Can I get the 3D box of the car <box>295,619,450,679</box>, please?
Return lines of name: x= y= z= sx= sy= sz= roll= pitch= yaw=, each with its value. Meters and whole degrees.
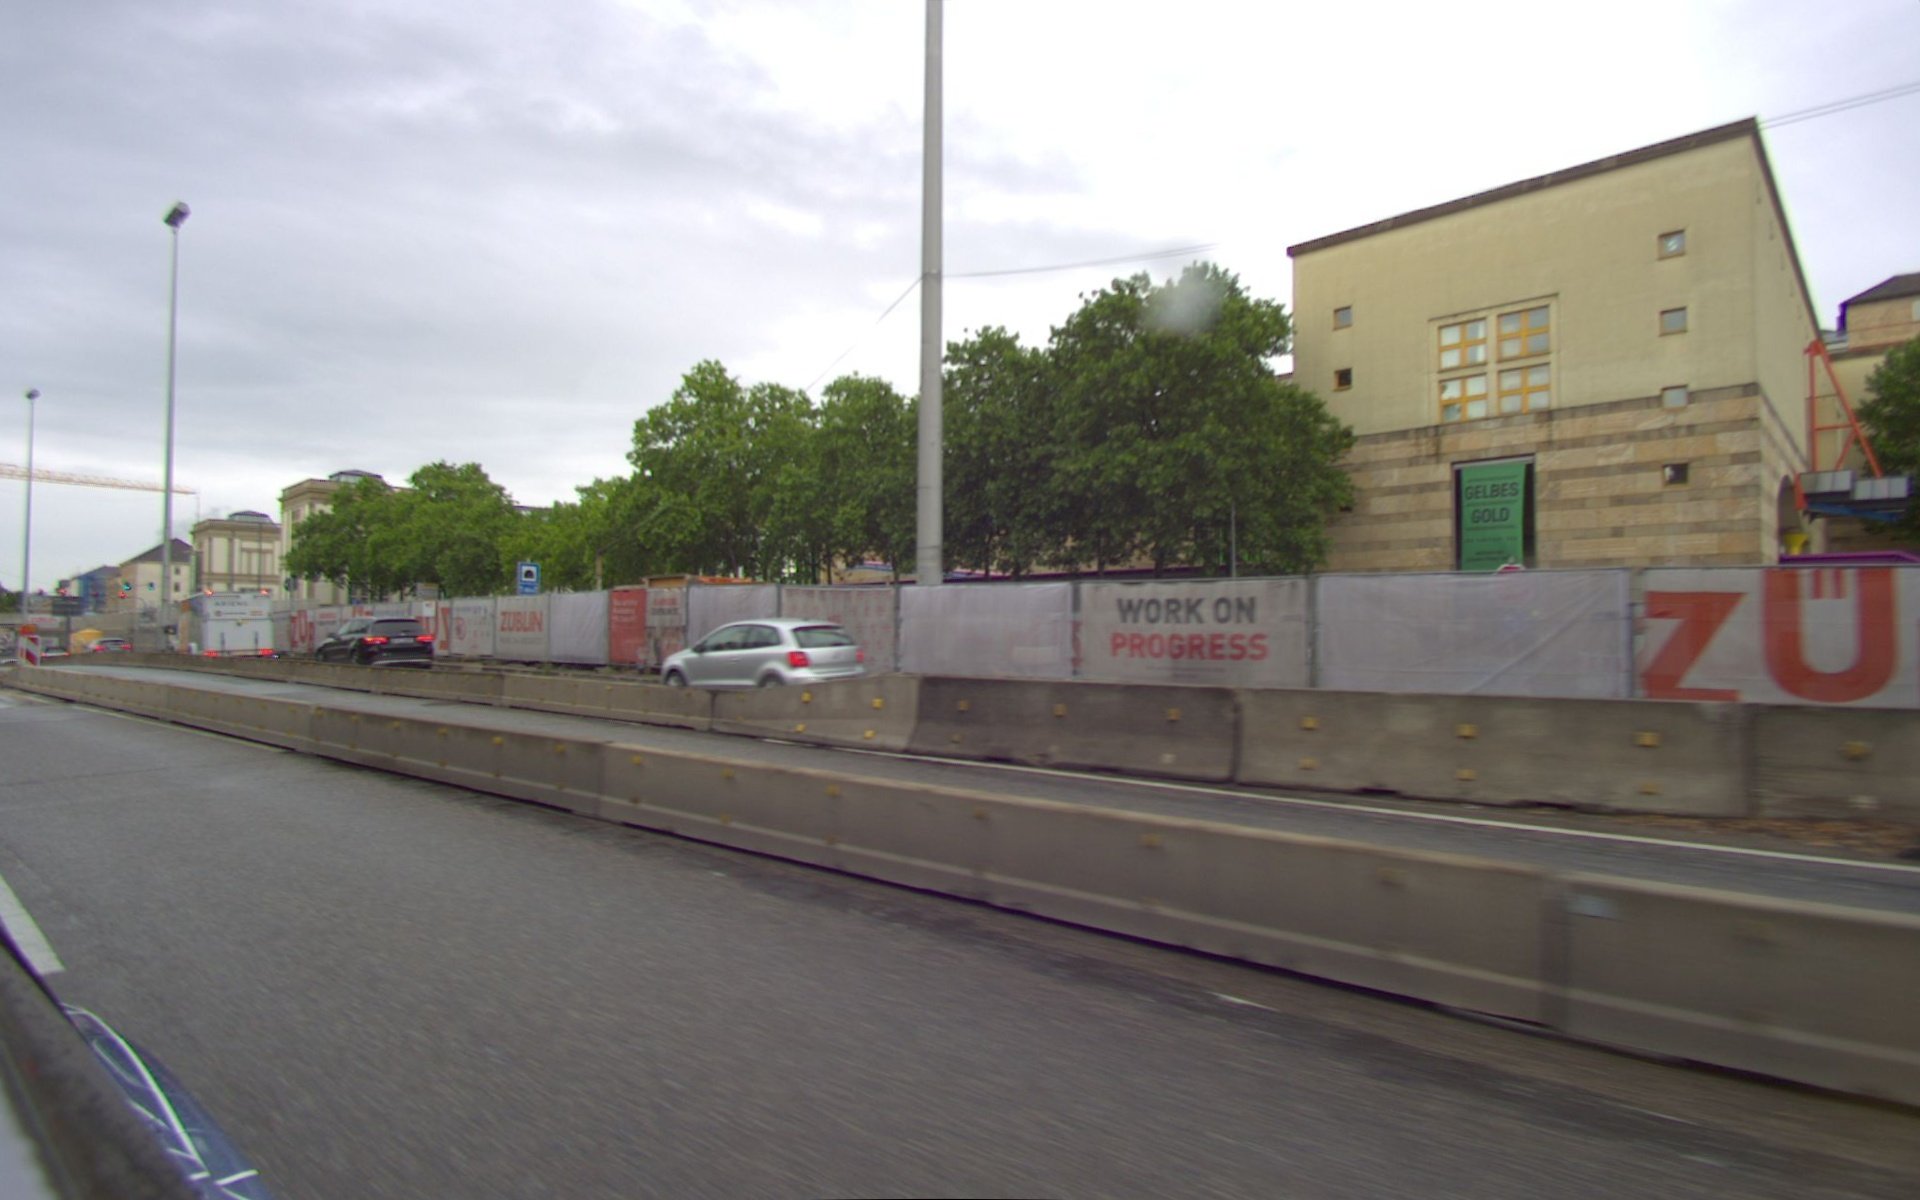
car: x=-16.279 y=1.334 z=27.978 sx=4.750 sy=1.542 sz=1.904 roll=-2 pitch=-3 yaw=35

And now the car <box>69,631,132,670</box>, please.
car: x=-48.222 y=2.829 z=56.759 sx=4.755 sy=2.029 sz=1.888 roll=0 pitch=-3 yaw=40

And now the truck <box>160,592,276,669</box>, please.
truck: x=-29.267 y=1.220 z=39.796 sx=7.355 sy=2.740 sz=2.371 roll=-2 pitch=-3 yaw=44

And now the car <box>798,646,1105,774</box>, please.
car: x=-0.178 y=1.437 z=14.394 sx=3.991 sy=1.542 sz=1.976 roll=-2 pitch=-3 yaw=35

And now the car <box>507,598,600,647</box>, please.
car: x=-17.619 y=1.017 z=43.759 sx=4.718 sy=2.029 sz=1.971 roll=-2 pitch=-3 yaw=44

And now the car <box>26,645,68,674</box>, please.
car: x=-63.374 y=4.126 z=70.222 sx=3.355 sy=1.882 sz=1.683 roll=-1 pitch=-3 yaw=40

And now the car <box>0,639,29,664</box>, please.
car: x=-80.757 y=4.388 z=86.078 sx=3.998 sy=2.029 sz=1.878 roll=-1 pitch=-3 yaw=42
